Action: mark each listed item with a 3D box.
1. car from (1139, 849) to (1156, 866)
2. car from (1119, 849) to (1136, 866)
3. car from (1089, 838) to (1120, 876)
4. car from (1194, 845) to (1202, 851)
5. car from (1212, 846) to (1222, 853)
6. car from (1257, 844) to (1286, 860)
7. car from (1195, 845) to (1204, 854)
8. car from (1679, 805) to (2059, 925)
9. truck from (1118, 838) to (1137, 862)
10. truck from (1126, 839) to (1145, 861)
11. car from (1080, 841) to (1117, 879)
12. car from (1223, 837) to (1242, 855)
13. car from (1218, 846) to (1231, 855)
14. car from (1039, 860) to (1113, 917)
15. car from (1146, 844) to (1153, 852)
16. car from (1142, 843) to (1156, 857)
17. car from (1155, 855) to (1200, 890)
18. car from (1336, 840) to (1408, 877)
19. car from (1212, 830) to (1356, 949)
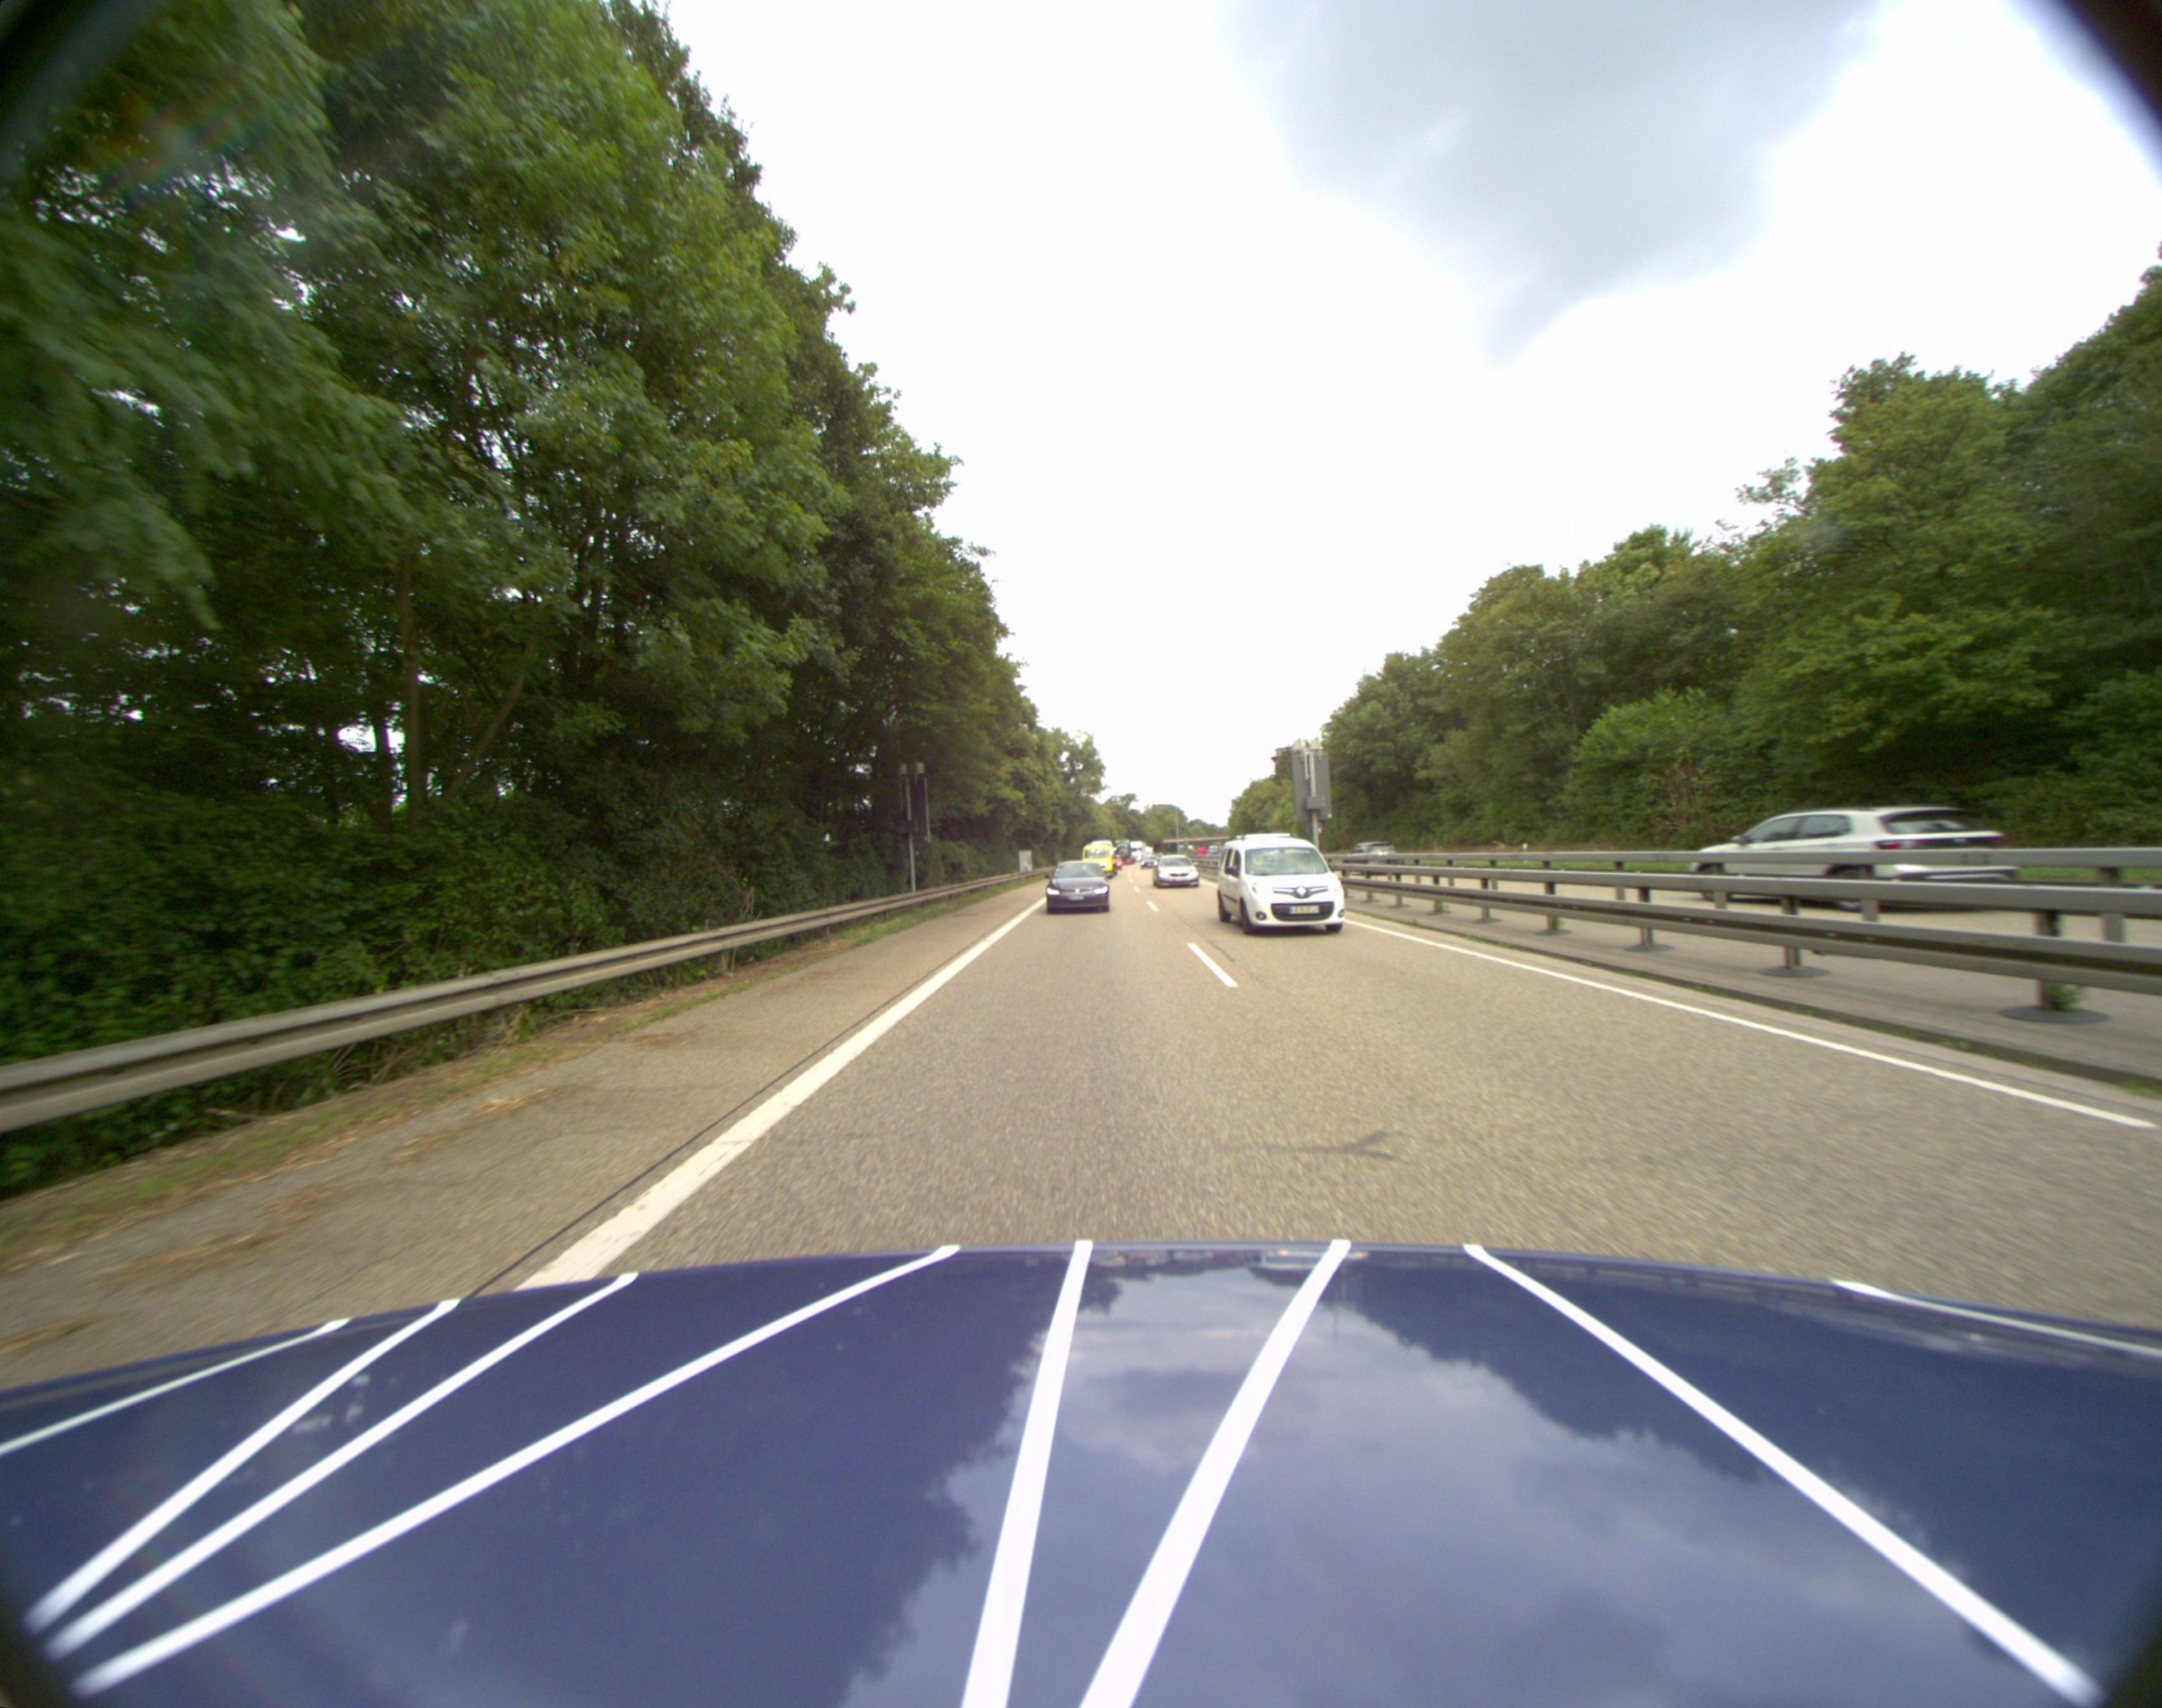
[{"bbox_3d":[7.220,0.311,82.321,1.677,1.763,3.938,-1,0,3],"label":"car"},{"bbox_3d":[4.952,0.374,80.745,1.677,1.763,3.938,-1,0,3],"label":"car"},{"bbox_3d":[1.879,0.196,59.378,2.207,2.732,6.168,-1,0,3],"label":"car"},{"bbox_3d":[32.912,-1.708,213.796,1.785,1.554,4.016,-1,0,5],"label":"car"},{"bbox_3d":[28.318,-0.974,158.722,1.997,1.501,4.508,-1,0,9],"label":"car"},{"bbox_3d":[18.819,-0.197,75.128,1.998,1.472,4.132,-1,0,3],"label":"car"},{"bbox_3d":[28.490,-1.081,182.996,2.070,2.243,5.378,-1,0,8],"label":"car"},{"bbox_3d":[12.024,0.135,12.090,1.796,1.540,4.129,-1,0,1],"label":"car"},{"bbox_3d":[7.370,-0.672,120.387,2.547,3.564,6.460,-1,0,7],"label":"truck"},{"bbox_3d":[11.527,-0.870,158.949,3.098,4.462,12.215,-1,0,8],"label":"truck"},{"bbox_3d":[1.216,0.386,50.726,2.247,2.334,5.225,-1,0,3],"label":"car"},{"bbox_3d":[20.832,-1.070,104.780,1.939,2.308,5.306,-1,0,5],"label":"car"},{"bbox_3d":[23.618,-0.606,125.105,1.698,1.458,4.090,-1,0,3],"label":"car"},{"bbox_3d":[-0.034,0.934,22.492,1.800,1.398,4.640,-1,0,4],"label":"car"},{"bbox_3d":[16.882,-1.419,188.015,1.680,1.840,4.002,-1,0,6],"label":"car"},{"bbox_3d":[8.965,-0.476,99.972,1.677,1.763,3.938,-1,0,3],"label":"car"},{"bbox_3d":[4.410,0.818,35.073,1.772,1.416,4.199,-1,0,4],"label":"car"},{"bbox_3d":[12.448,0.165,32.700,1.713,1.438,3.776,-1,0,2],"label":"car"},{"bbox_3d":[3.836,0.600,15.160,1.821,1.993,4.423,-1,0,2],"label":"car"}]
